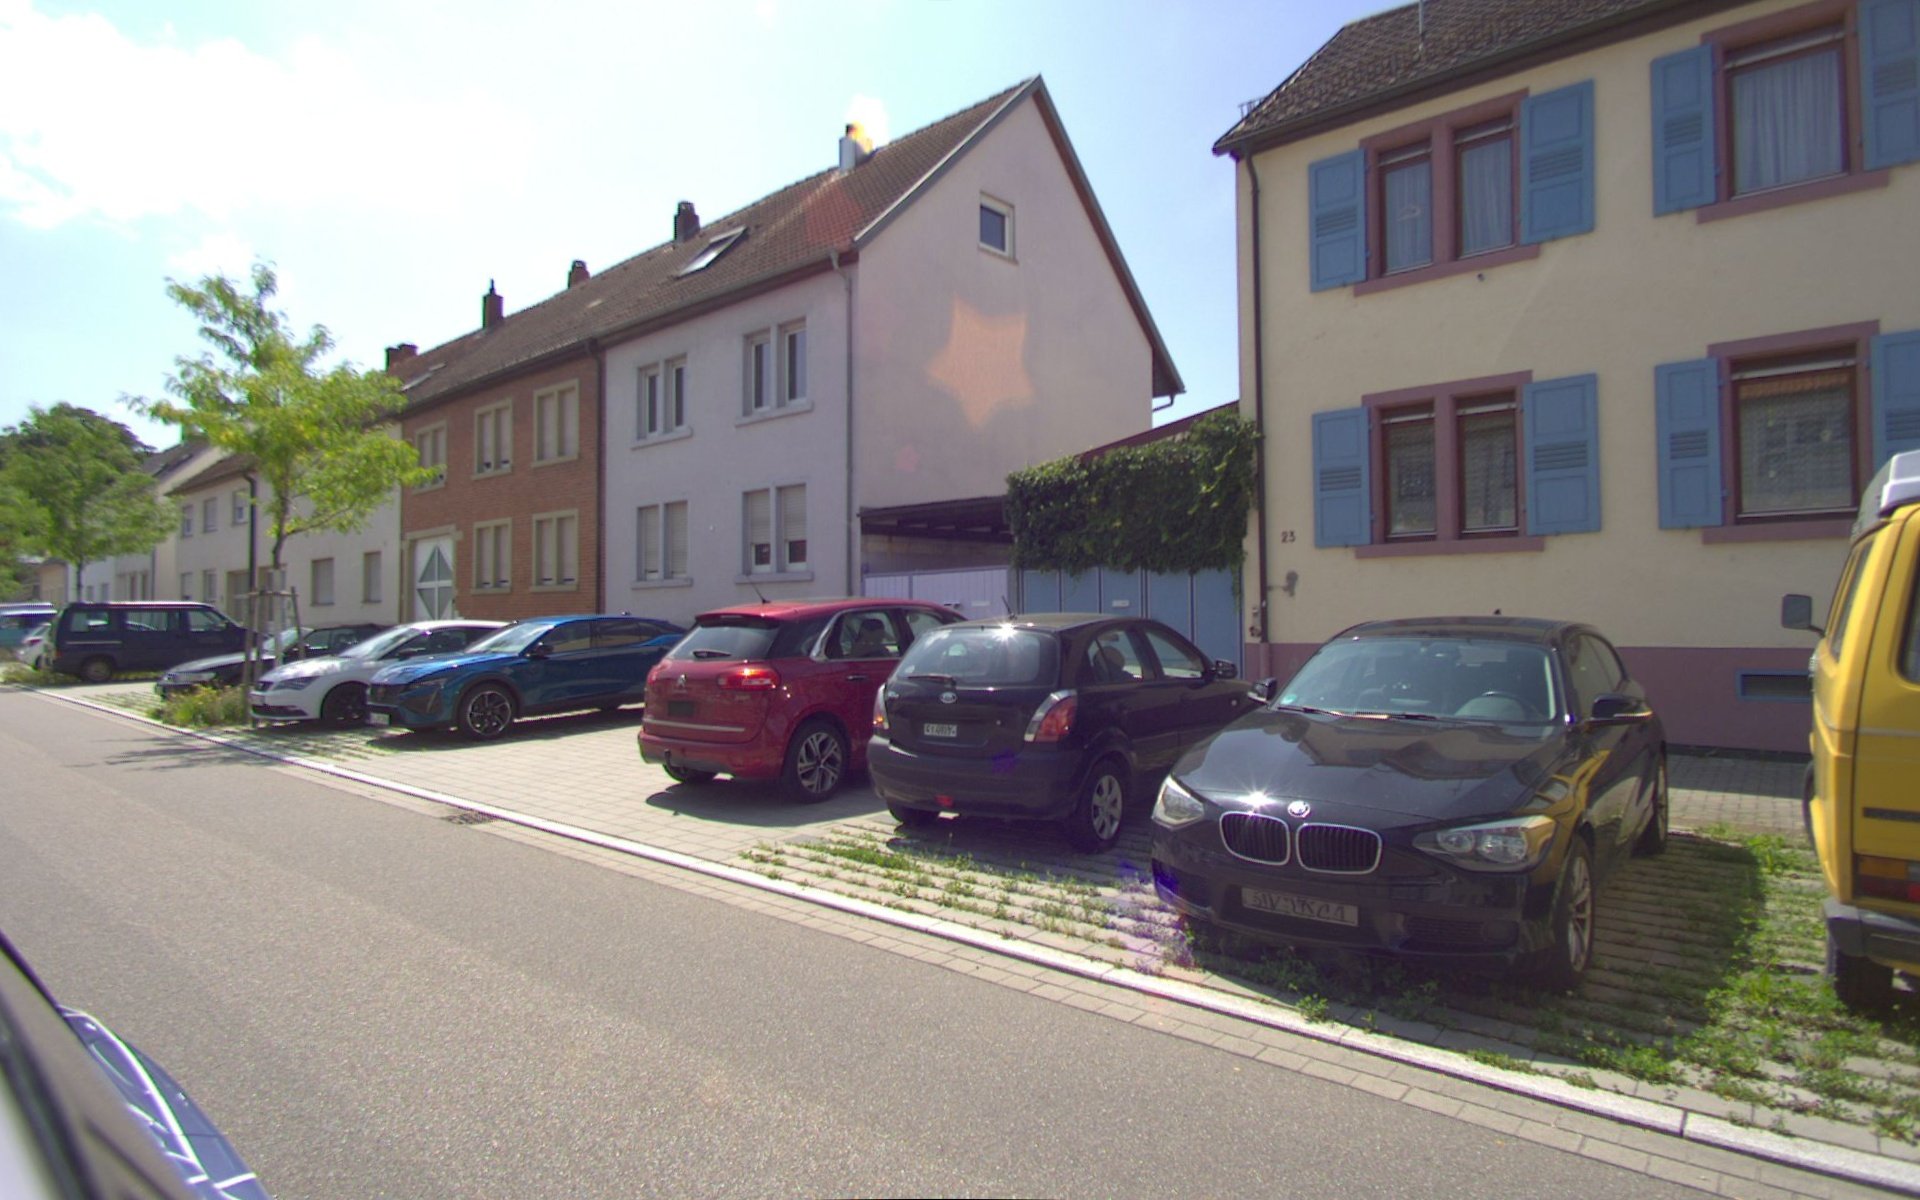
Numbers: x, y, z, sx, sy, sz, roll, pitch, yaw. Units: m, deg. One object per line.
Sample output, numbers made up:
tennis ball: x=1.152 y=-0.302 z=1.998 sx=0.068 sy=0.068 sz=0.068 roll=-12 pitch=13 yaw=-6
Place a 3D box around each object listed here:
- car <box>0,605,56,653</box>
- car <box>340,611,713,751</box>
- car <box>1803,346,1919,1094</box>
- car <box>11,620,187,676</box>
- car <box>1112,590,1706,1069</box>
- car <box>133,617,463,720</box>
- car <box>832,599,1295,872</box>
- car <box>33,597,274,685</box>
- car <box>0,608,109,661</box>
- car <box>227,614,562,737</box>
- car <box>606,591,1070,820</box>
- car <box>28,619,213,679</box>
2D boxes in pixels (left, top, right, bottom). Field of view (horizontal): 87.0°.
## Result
car: x=-48.788 y=1.482 z=50.566 sx=2.154 sy=2.305 sz=5.117 roll=-1 pitch=0 yaw=38
car: x=-5.654 y=0.952 z=13.720 sx=1.772 sy=1.489 sz=4.363 roll=-1 pitch=0 yaw=37
car: x=4.793 y=0.315 z=4.197 sx=1.924 sy=2.193 sz=4.462 roll=-1 pitch=0 yaw=40
car: x=-25.990 y=1.397 z=30.633 sx=1.772 sy=1.500 sz=3.874 roll=-1 pitch=0 yaw=42
car: x=2.602 y=0.714 z=5.247 sx=1.754 sy=1.470 sz=3.969 roll=-1 pitch=0 yaw=40
car: x=-11.290 y=1.078 z=17.541 sx=1.794 sy=1.436 sz=4.478 roll=-1 pitch=0 yaw=40
car: x=0.996 y=0.759 z=7.630 sx=1.753 sy=1.470 sz=3.755 roll=-1 pitch=0 yaw=38
car: x=-20.524 y=0.968 z=25.906 sx=1.952 sy=2.011 sz=4.563 roll=-1 pitch=0 yaw=42
car: x=-36.581 y=1.357 z=39.713 sx=1.999 sy=1.921 sz=4.628 roll=-1 pitch=1 yaw=41
car: x=-8.296 y=1.006 z=15.146 sx=1.773 sy=1.489 sz=4.015 roll=-1 pitch=0 yaw=38
car: x=-0.908 y=0.759 z=9.489 sx=1.841 sy=1.623 sz=4.210 roll=-1 pitch=0 yaw=40
car: x=-23.945 y=1.339 z=28.964 sx=1.772 sy=1.500 sz=3.874 roll=-1 pitch=0 yaw=42
